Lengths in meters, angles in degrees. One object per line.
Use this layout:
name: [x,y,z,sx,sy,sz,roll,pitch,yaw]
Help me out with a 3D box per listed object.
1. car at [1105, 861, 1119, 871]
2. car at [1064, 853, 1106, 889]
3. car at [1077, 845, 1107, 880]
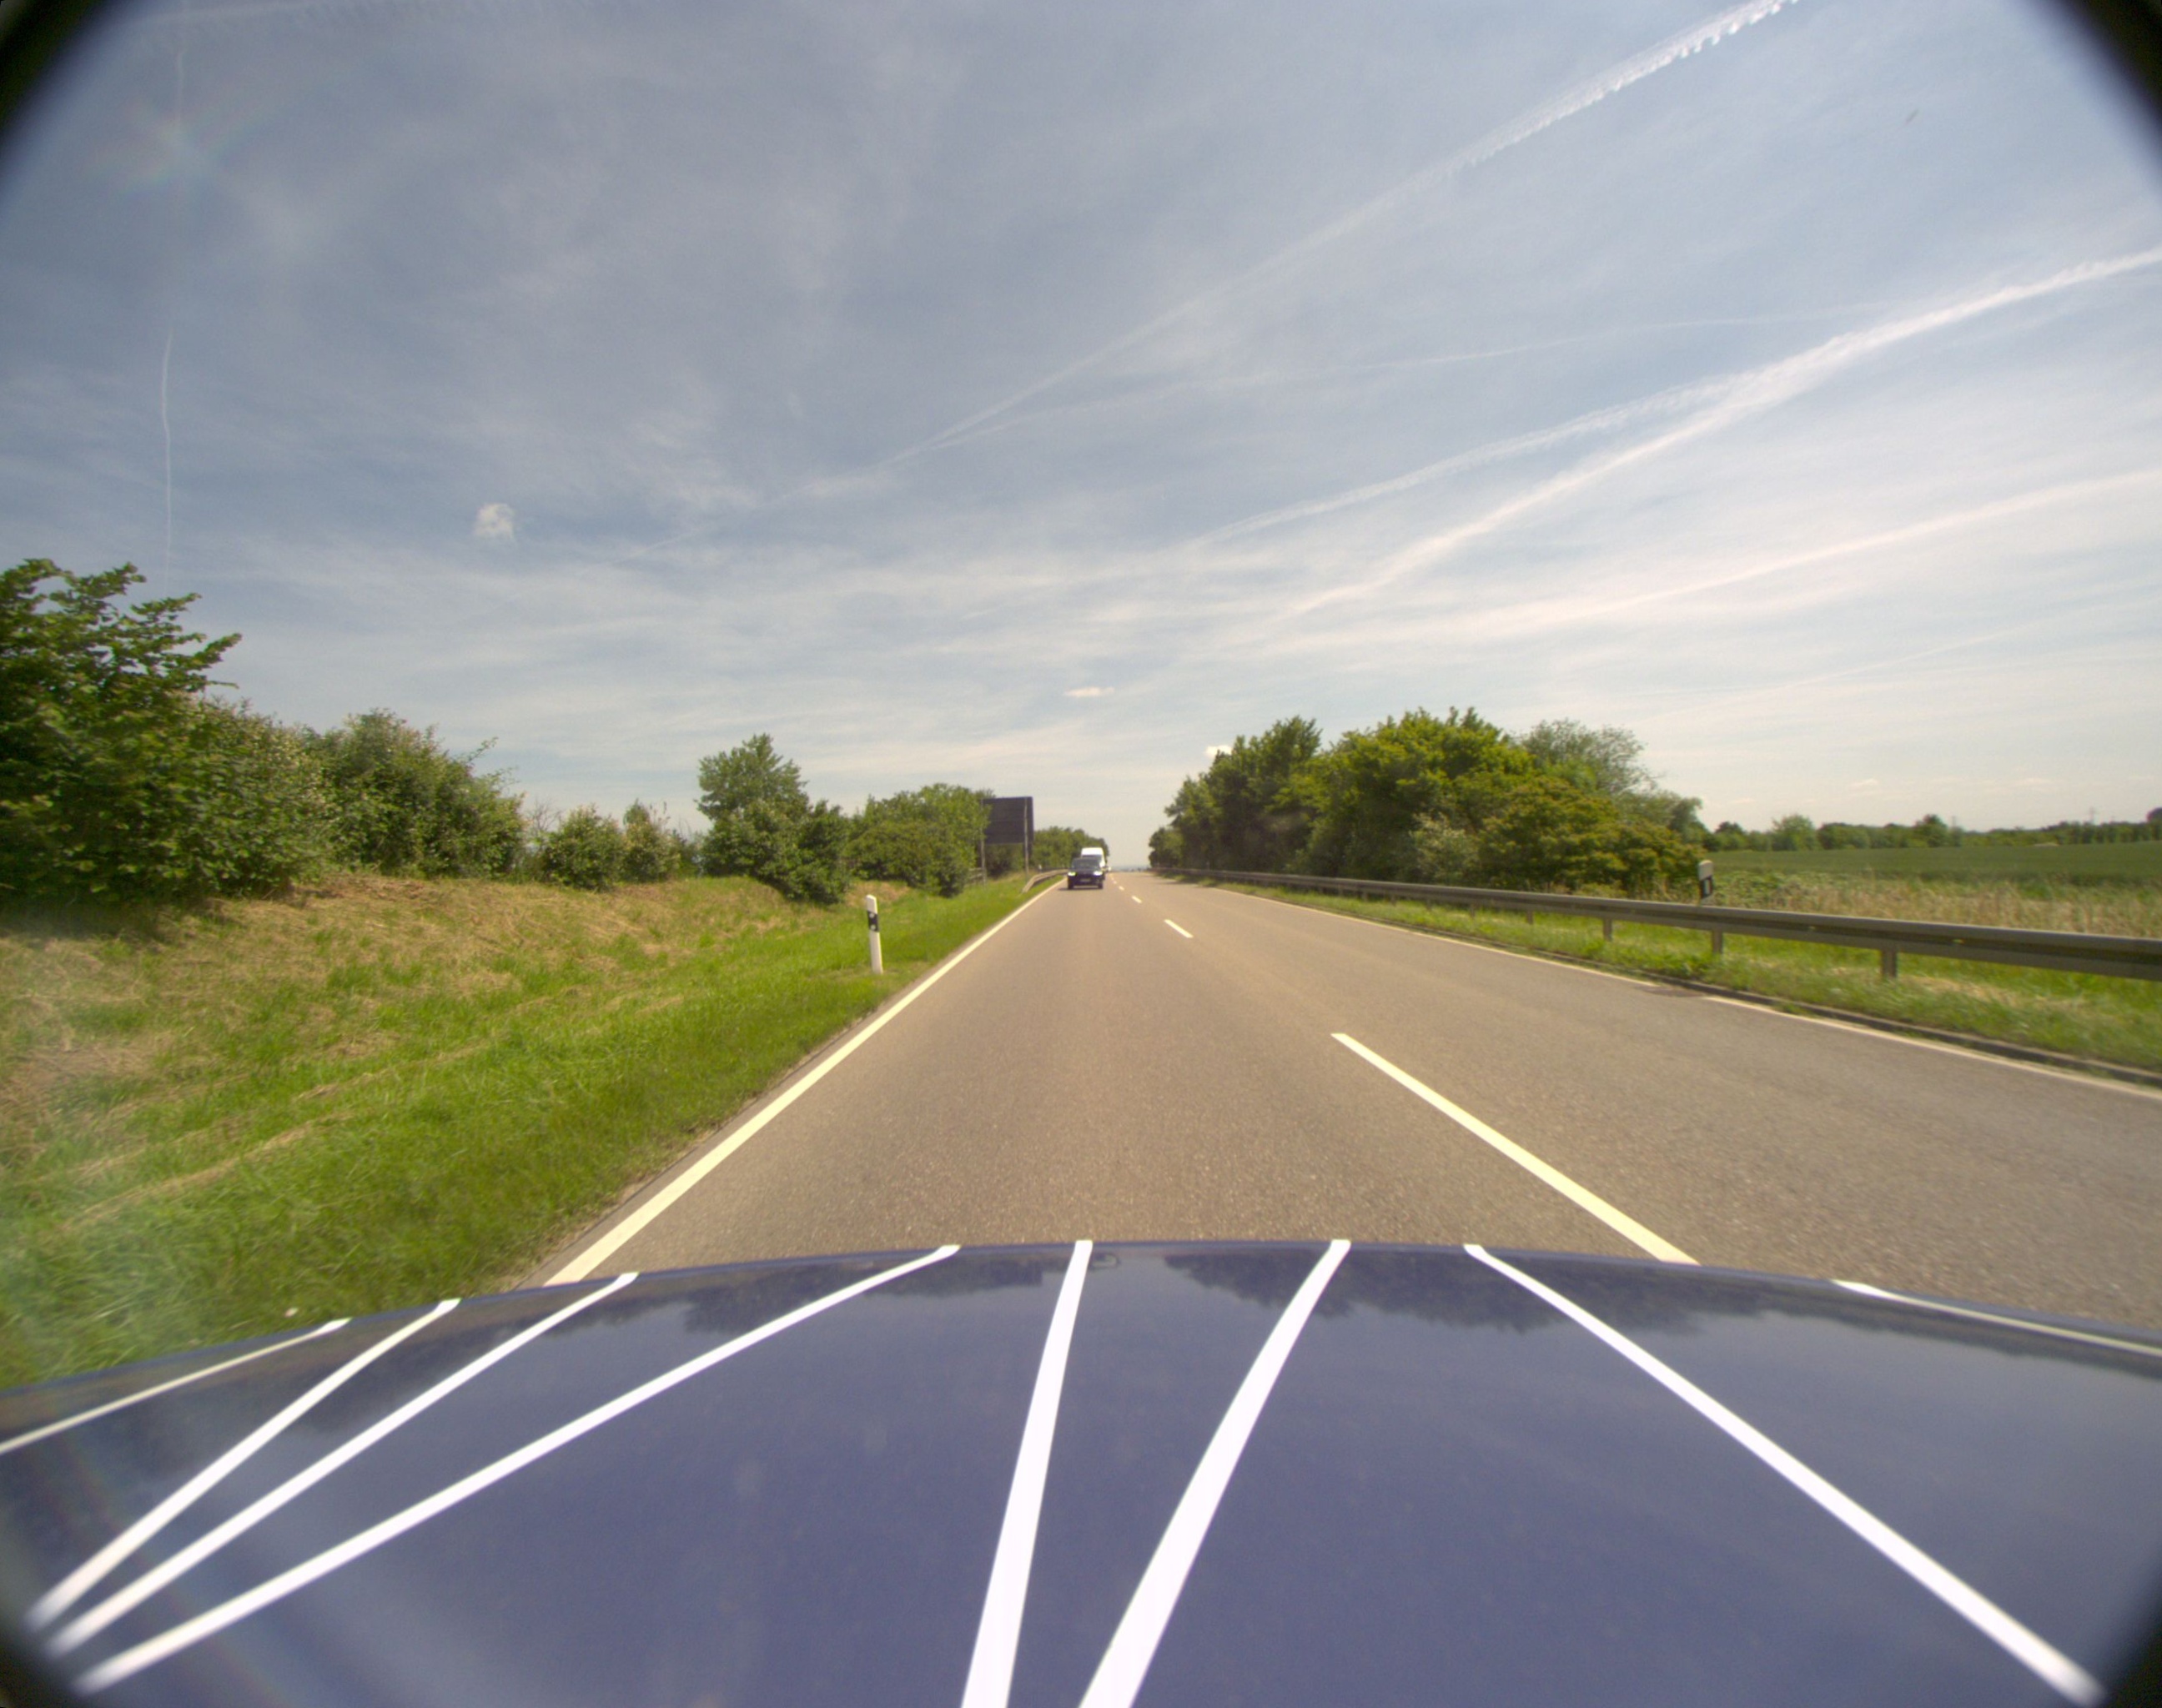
car: [5.072,1.938,125.496,2.038,1.641,4.747,-1,-1,5]
car: [0.295,0.862,41.426,2.039,1.691,5.513,-1,1,3]
car: [0.965,0.630,61.953,2.225,2.617,5.753,-2,1,2]
